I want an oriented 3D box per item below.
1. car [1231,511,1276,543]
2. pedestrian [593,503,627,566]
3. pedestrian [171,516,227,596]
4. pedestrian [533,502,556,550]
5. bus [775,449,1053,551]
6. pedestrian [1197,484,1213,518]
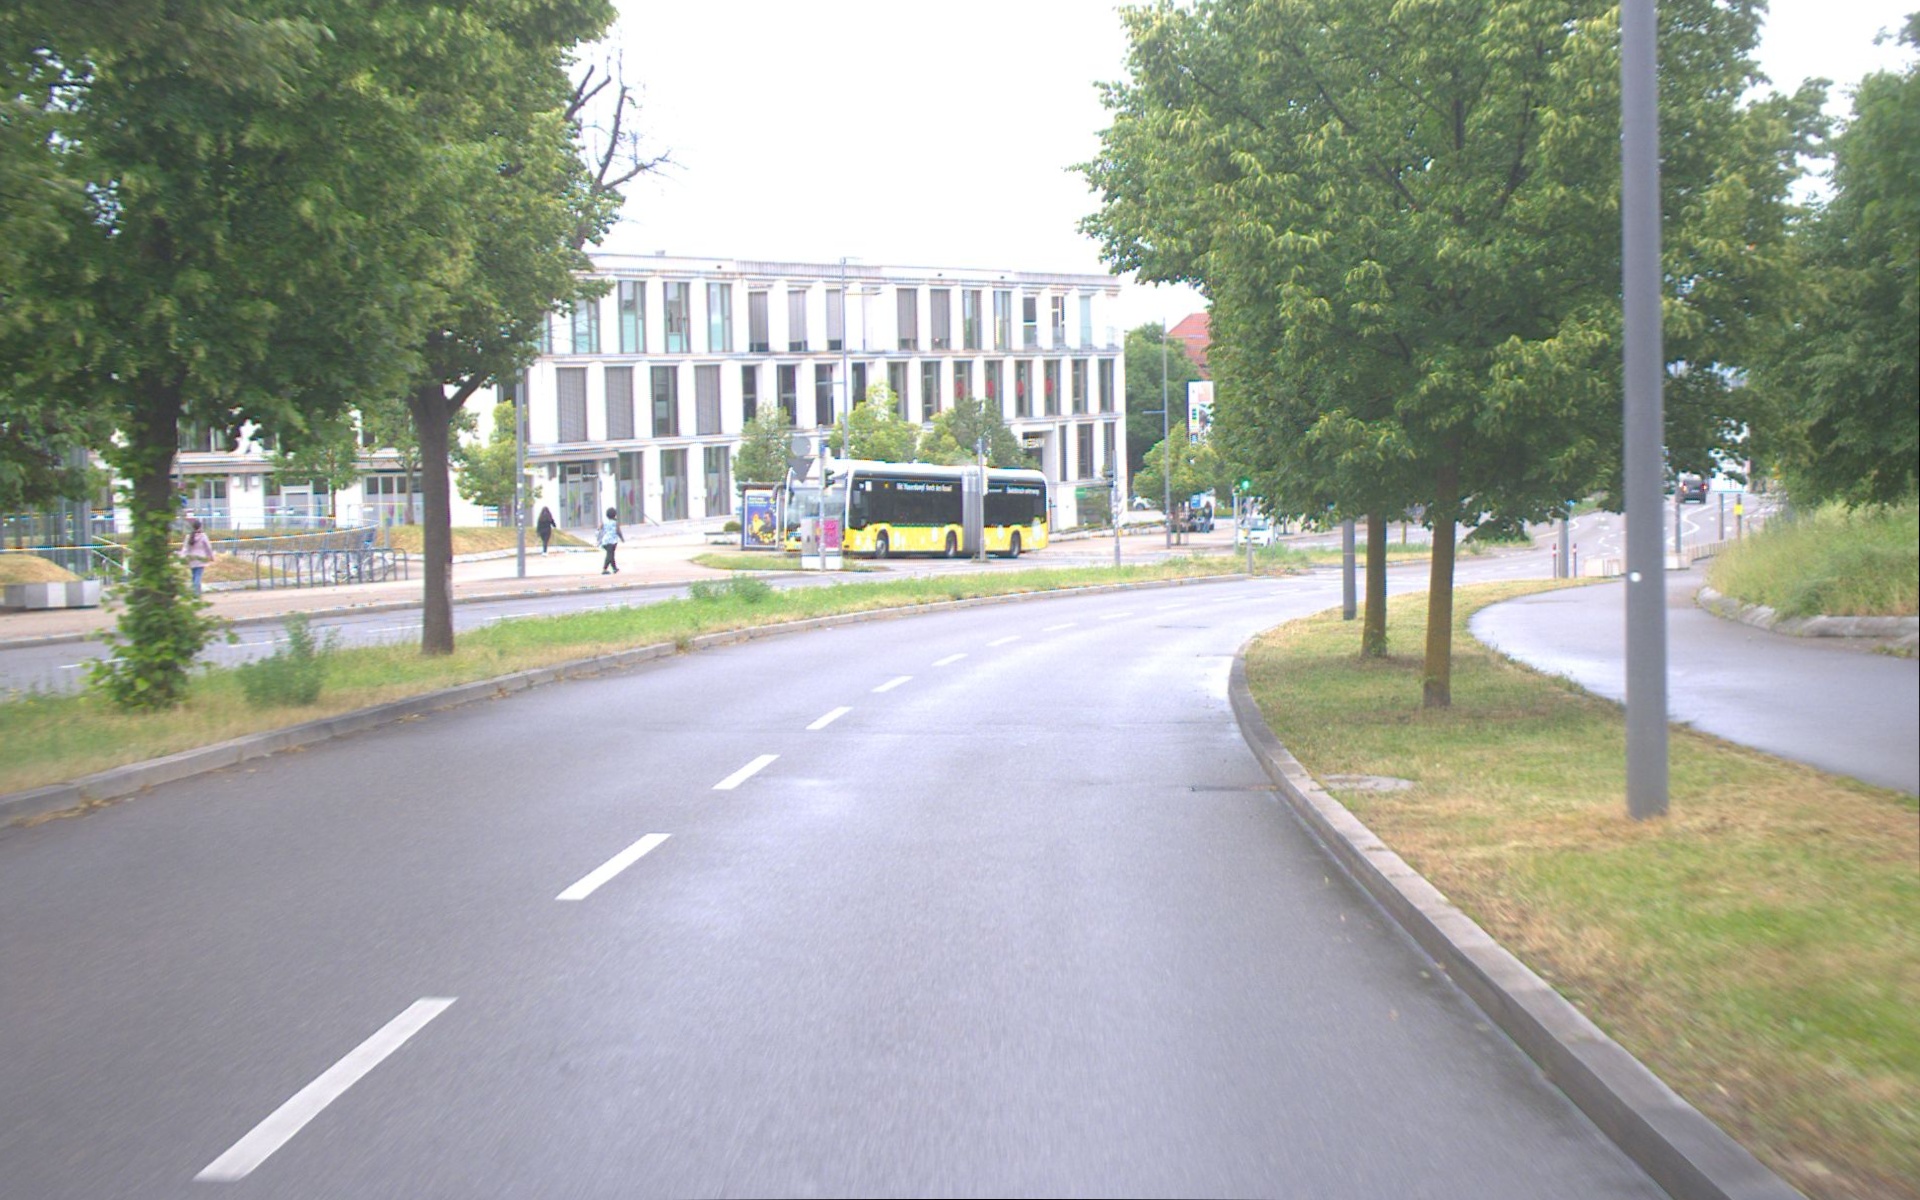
[{"bbox_3d":[14.036,-3.486,164.366,1.480,1.489,2.527,0,0,22],"label":"car"},{"bbox_3d":[-8.914,-1.663,87.516,0.834,1.568,0.719,0,0,-8],"label":"pedestrian"},{"bbox_3d":[-15.530,-0.898,70.162,0.814,1.615,0.935,0,0,9],"label":"pedestrian"},{"bbox_3d":[-13.387,-2.376,110.752,0.682,1.519,0.719,0,0,-2],"label":"pedestrian"},{"bbox_3d":[-1.346,-3.490,124.734,2.788,3.345,18.204,0,0,24],"label":"bus"},{"bbox_3d":[13.597,-5.494,190.778,0.748,1.846,0.838,0,0,-1],"label":"pedestrian"}]
